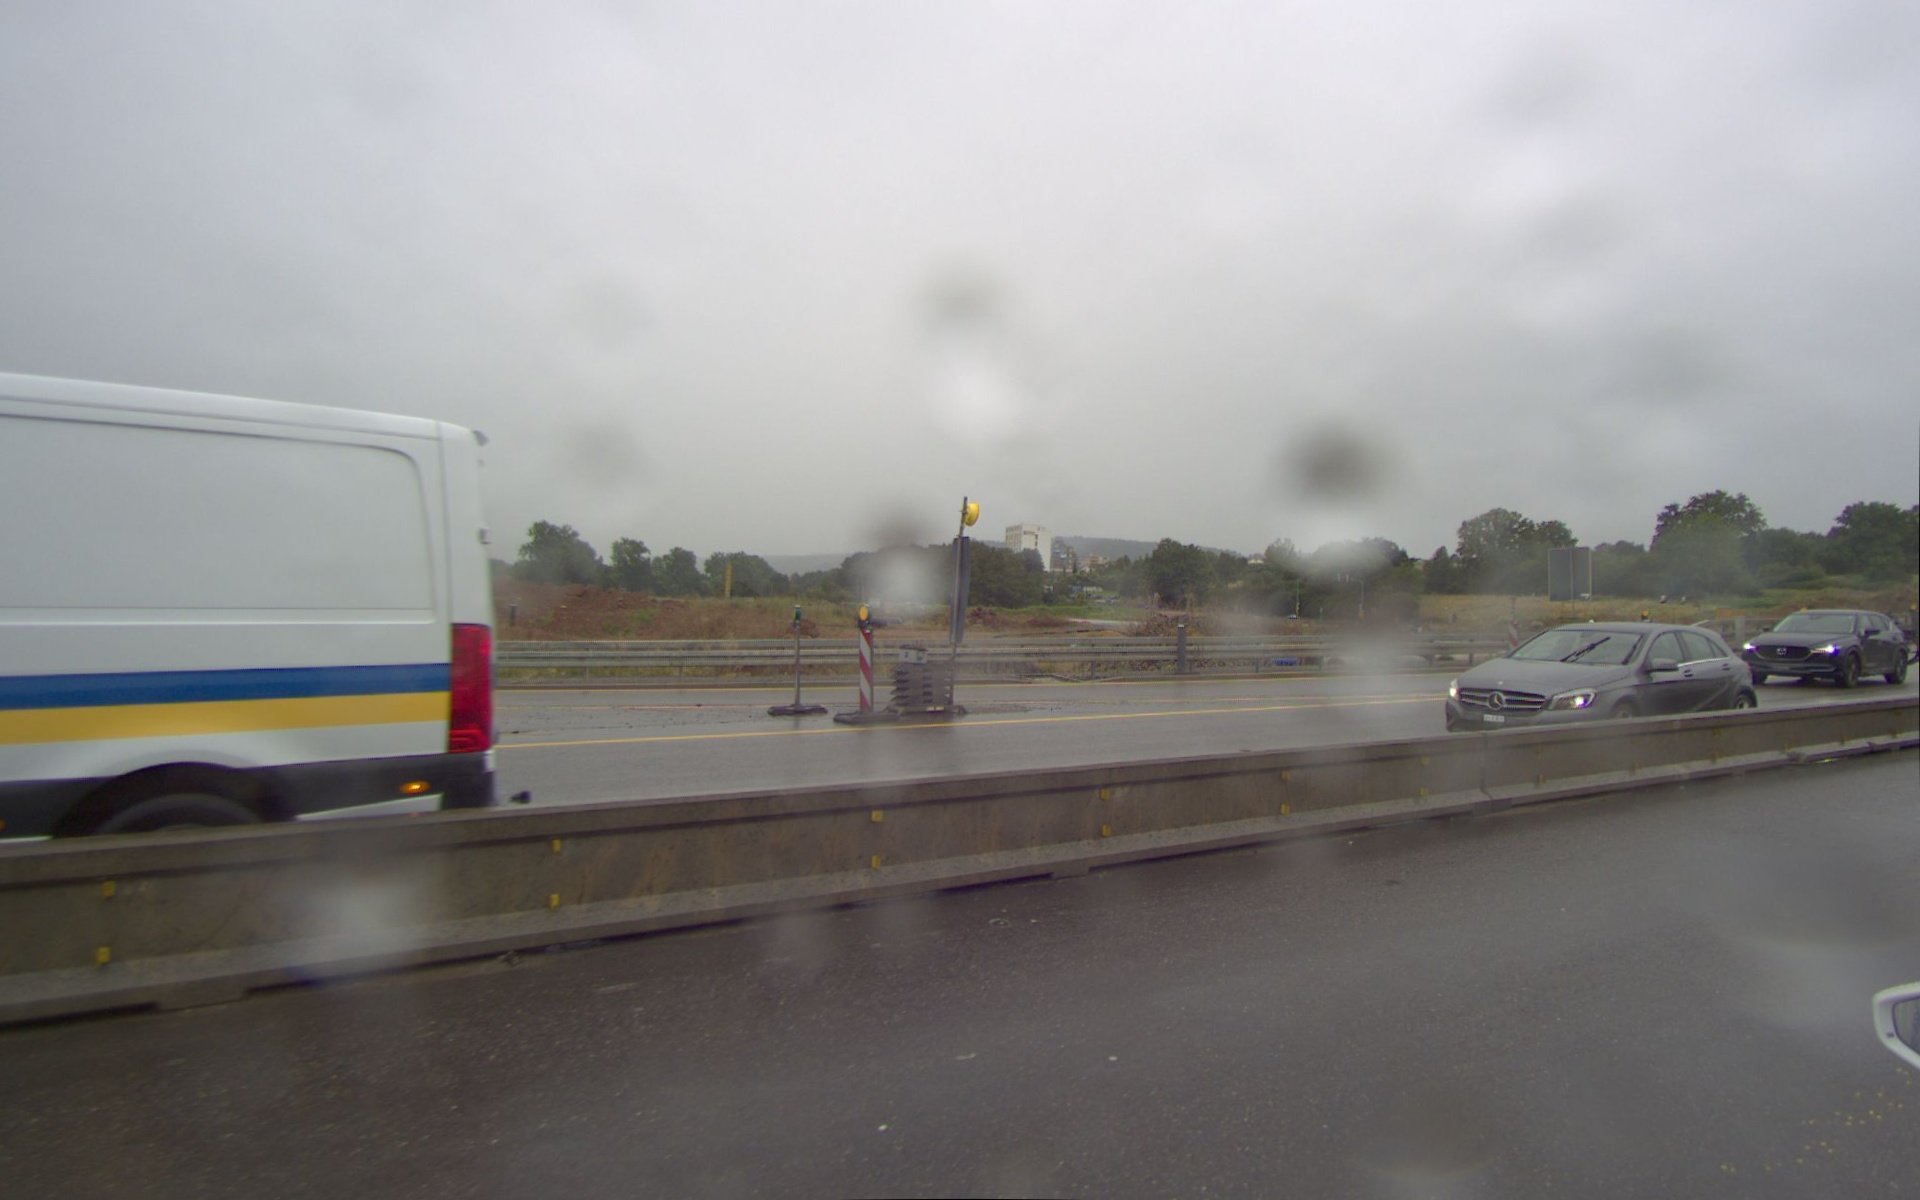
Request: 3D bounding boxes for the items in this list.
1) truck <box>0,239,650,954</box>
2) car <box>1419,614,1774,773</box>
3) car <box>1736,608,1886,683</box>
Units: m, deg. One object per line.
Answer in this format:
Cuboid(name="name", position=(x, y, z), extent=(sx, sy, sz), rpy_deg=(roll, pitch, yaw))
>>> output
Cuboid(name="truck", position=(-4.581, -0.041, 4.224), extent=(5.894, 2.610, 2.068), rpy_deg=(3, -1, -31))
Cuboid(name="car", position=(7.529, 0.991, 11.790), extent=(4.262, 1.559, 1.778), rpy_deg=(2, -1, -31))
Cuboid(name="car", position=(18.974, 0.967, 22.356), extent=(3.839, 1.544, 1.713), rpy_deg=(1, -1, -36))
